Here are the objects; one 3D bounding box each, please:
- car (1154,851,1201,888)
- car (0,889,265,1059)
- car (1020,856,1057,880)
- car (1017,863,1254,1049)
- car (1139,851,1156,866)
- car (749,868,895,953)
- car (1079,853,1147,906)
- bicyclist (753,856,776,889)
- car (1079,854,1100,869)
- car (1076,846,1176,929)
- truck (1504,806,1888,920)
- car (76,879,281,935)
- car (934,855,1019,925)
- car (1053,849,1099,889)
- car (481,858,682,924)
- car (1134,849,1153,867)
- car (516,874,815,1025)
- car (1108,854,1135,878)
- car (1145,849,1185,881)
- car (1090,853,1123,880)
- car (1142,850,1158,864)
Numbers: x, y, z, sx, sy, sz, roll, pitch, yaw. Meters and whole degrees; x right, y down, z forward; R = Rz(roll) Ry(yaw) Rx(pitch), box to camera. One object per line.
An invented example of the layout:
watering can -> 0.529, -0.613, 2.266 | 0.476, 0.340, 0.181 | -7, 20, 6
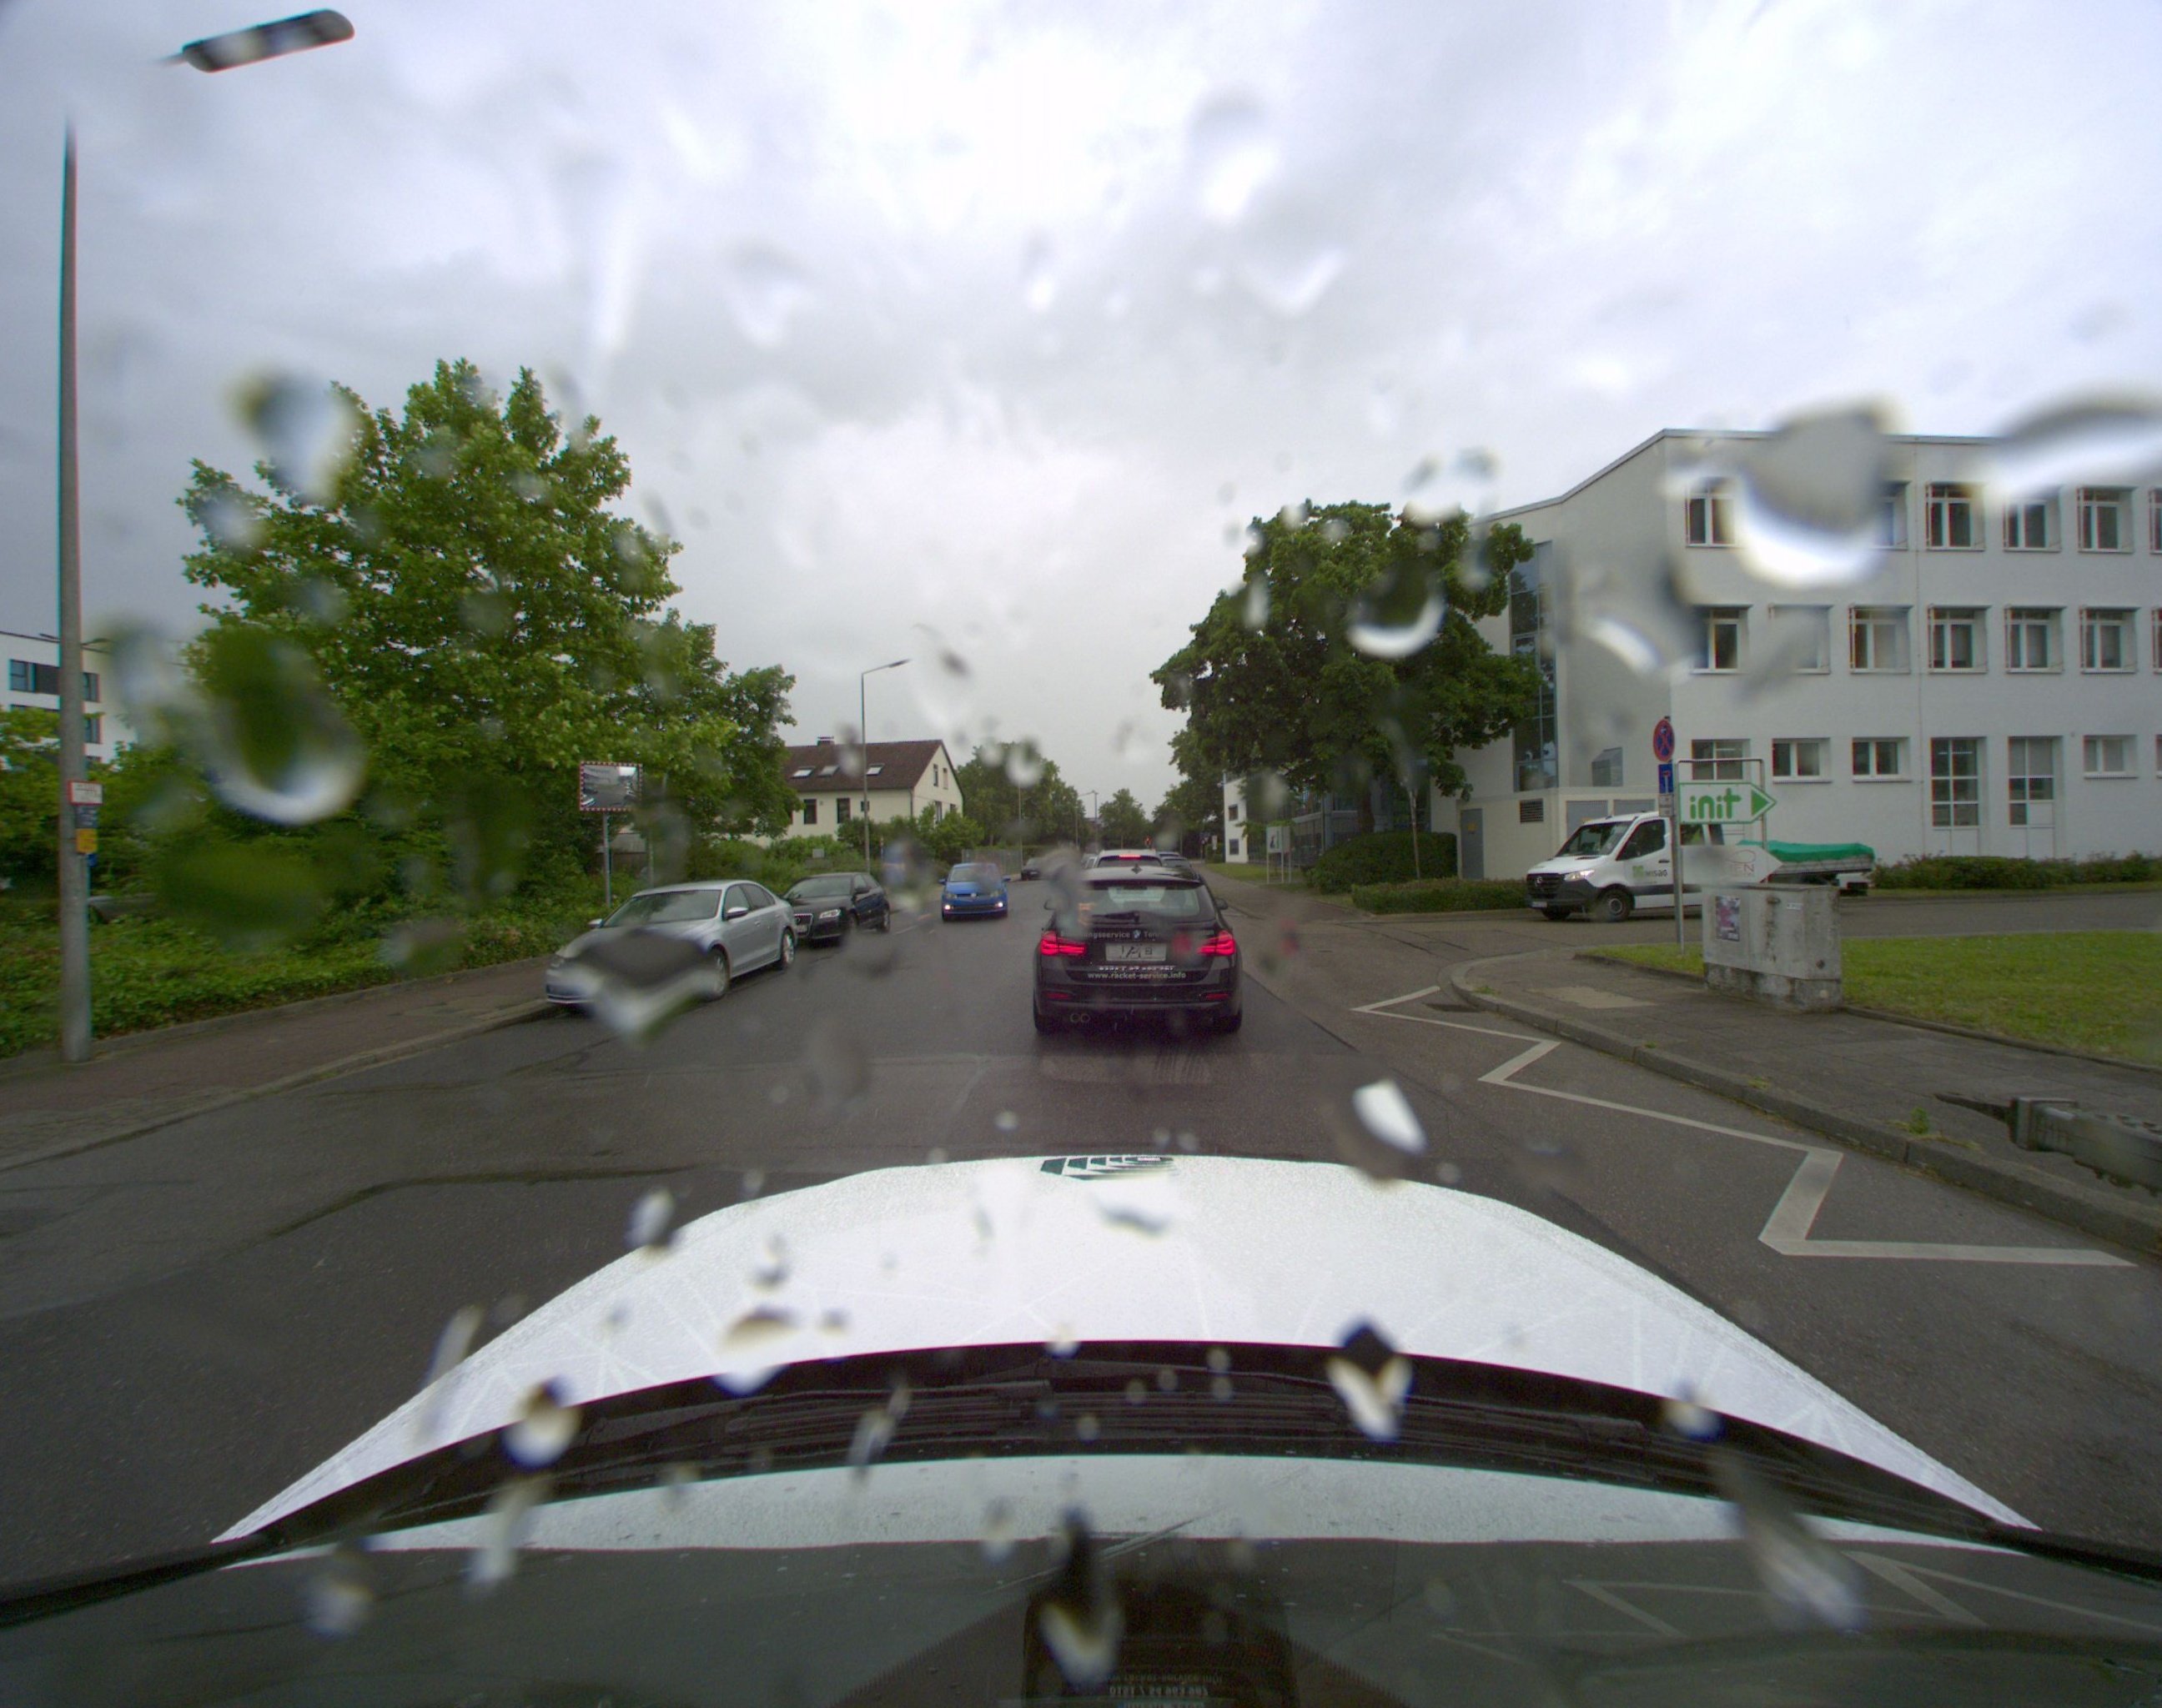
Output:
car -> 4.401, 0.689, 37.496 | 1.797, 1.586, 4.002 | -1, -1, 2
car -> -10.846, 1.112, 8.120 | 3.561, 1.460, 1.711 | 0, 0, -3
car -> -2.735, 0.896, 53.542 | 1.696, 1.367, 3.845 | -4, 0, 7
car -> 0.468, 0.800, 8.236 | 1.798, 1.395, 4.001 | -1, -1, 1
car -> 7.372, 0.502, 90.179 | 1.796, 1.586, 4.004 | -1, 0, 4
car -> -5.144, 1.058, 16.700 | 1.700, 1.367, 3.837 | -4, 0, 0
car -> 0.949, 0.779, 26.430 | 1.800, 1.586, 3.995 | -1, -1, -4
bicyclist -> -15.123, 0.863, 38.885 | 0.943, 1.516, 0.609 | -1, 0, -25
car -> 0.916, 0.727, 85.283 | 1.696, 1.367, 3.845 | -4, 0, 7
car -> 0.861, 0.666, 17.711 | 1.799, 1.586, 3.997 | -1, -1, -2
truck -> 13.094, 0.166, 17.608 | 6.907, 2.140, 2.092 | -1, 0, -3
car -> -27.845, 1.604, 25.256 | 3.977, 1.499, 1.998 | -2, 0, -2
car -> -2.723, 0.901, 22.006 | 1.700, 1.594, 3.837 | -4, 0, 0
car -> -0.161, 0.611, 34.668 | 1.797, 1.586, 4.002 | -1, -1, 2
car -> -12.874, 0.914, 21.194 | 3.978, 1.540, 1.908 | -1, 0, -3
car -> 6.030, 0.369, 78.713 | 1.796, 1.586, 4.004 | -1, 0, 4
car -> -5.168, 1.069, 10.972 | 1.701, 1.367, 4.598 | -4, 0, -2
car -> 2.898, 0.830, 57.135 | 1.796, 1.586, 4.004 | -1, -1, 4
car -> 4.375, 0.587, 42.888 | 1.797, 1.586, 4.002 | -1, -1, 2
car -> 1.612, 0.754, 50.036 | 1.796, 1.586, 4.004 | -1, -1, 4
car -> 8.236, 0.310, 96.844 | 1.796, 1.586, 4.004 | -1, 0, 4
